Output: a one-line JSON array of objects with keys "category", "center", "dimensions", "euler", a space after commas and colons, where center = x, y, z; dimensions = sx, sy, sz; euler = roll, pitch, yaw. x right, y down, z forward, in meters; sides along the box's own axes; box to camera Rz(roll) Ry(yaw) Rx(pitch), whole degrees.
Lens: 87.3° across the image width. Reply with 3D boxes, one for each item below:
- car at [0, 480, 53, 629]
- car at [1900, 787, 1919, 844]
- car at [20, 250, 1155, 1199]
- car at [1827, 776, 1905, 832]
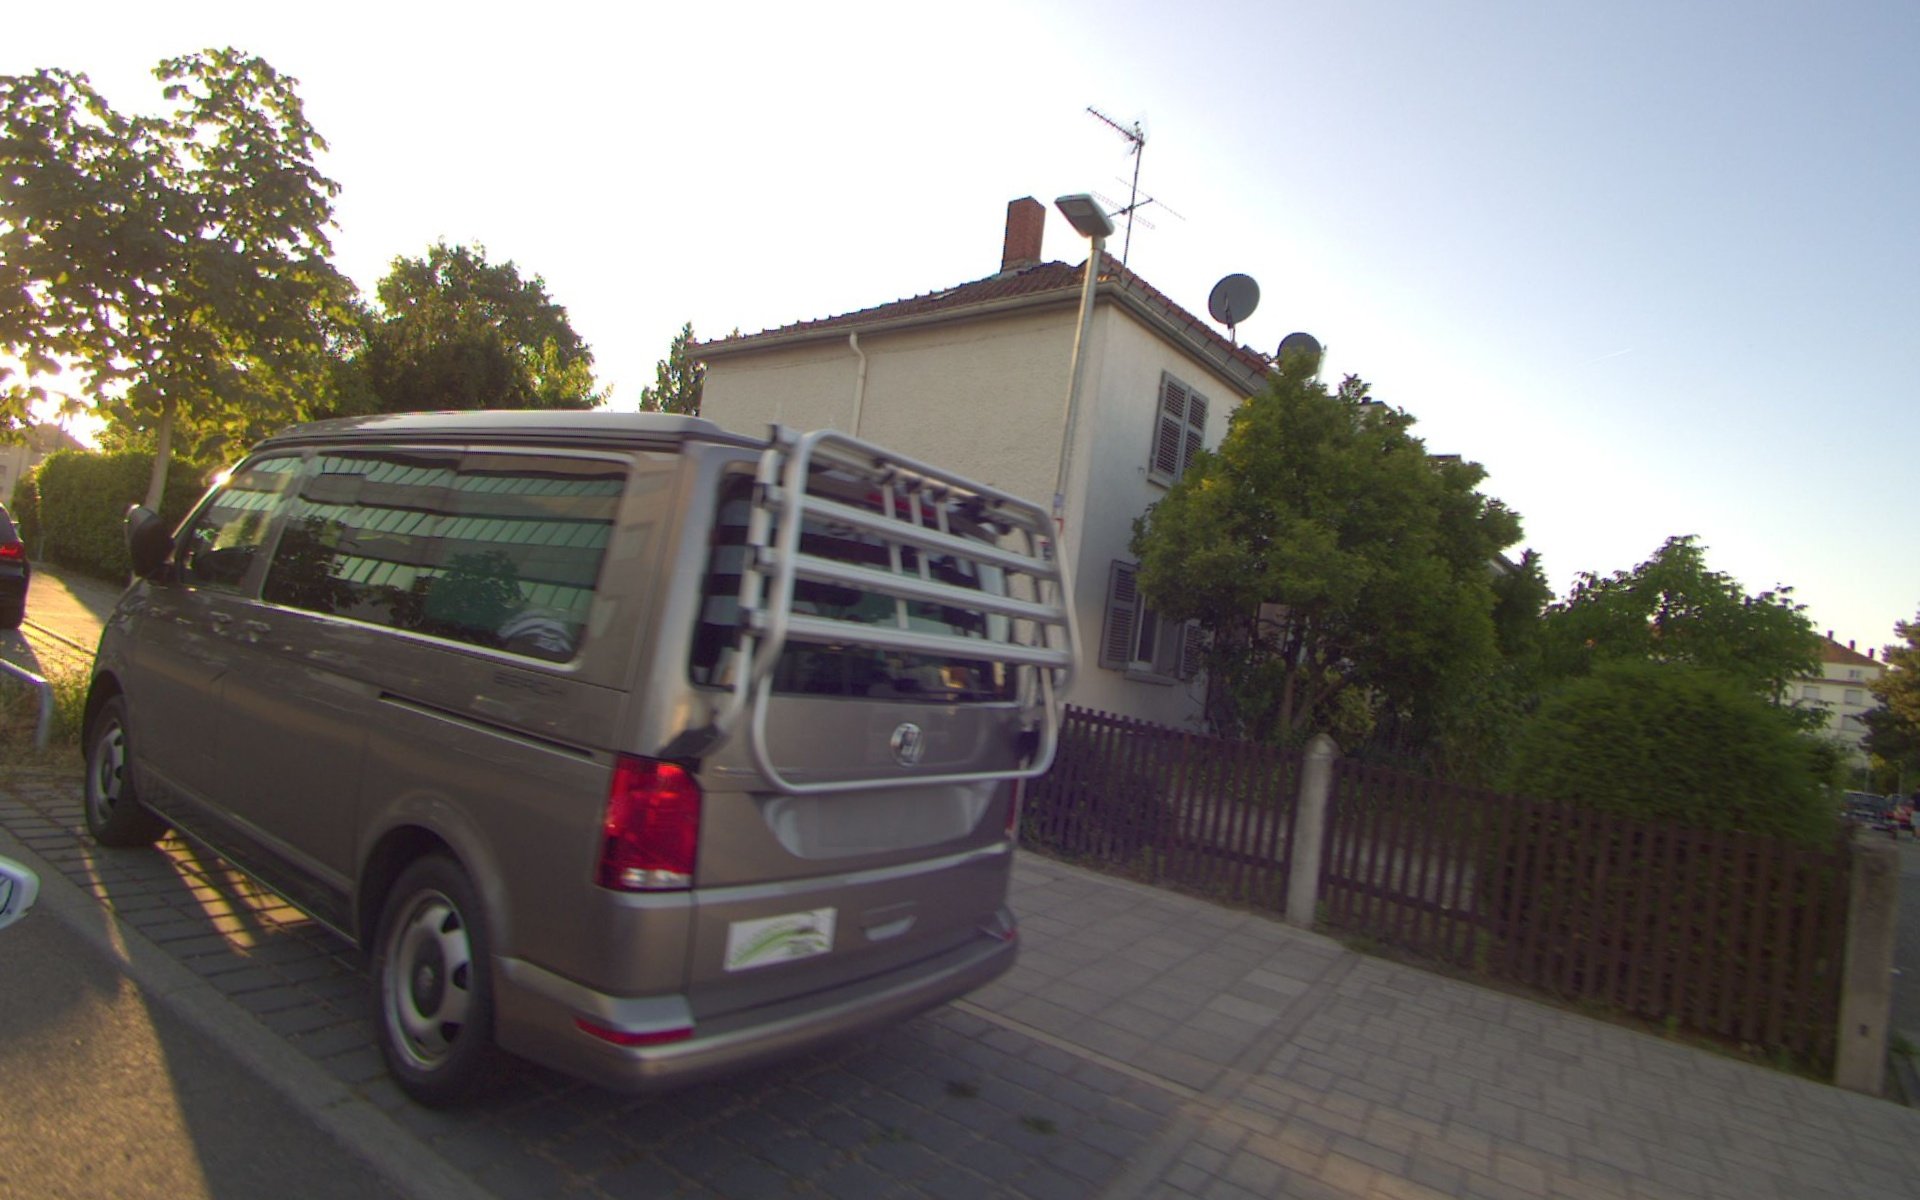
[{"category": "car", "center": [-12.053, -0.706, 11.609], "dimensions": [3.587, 1.570, 1.740], "euler": [6, -2, 40]}, {"category": "car", "center": [33.287, 7.383, 34.011], "dimensions": [1.655, 1.808, 4.090], "euler": [4, -5, 37]}, {"category": "car", "center": [-1.915, 0.233, 4.325], "dimensions": [4.797, 2.119, 2.067], "euler": [6, -2, 36]}, {"category": "car", "center": [32.526, 7.269, 36.197], "dimensions": [1.655, 1.613, 3.762], "euler": [4, -5, 37]}]
